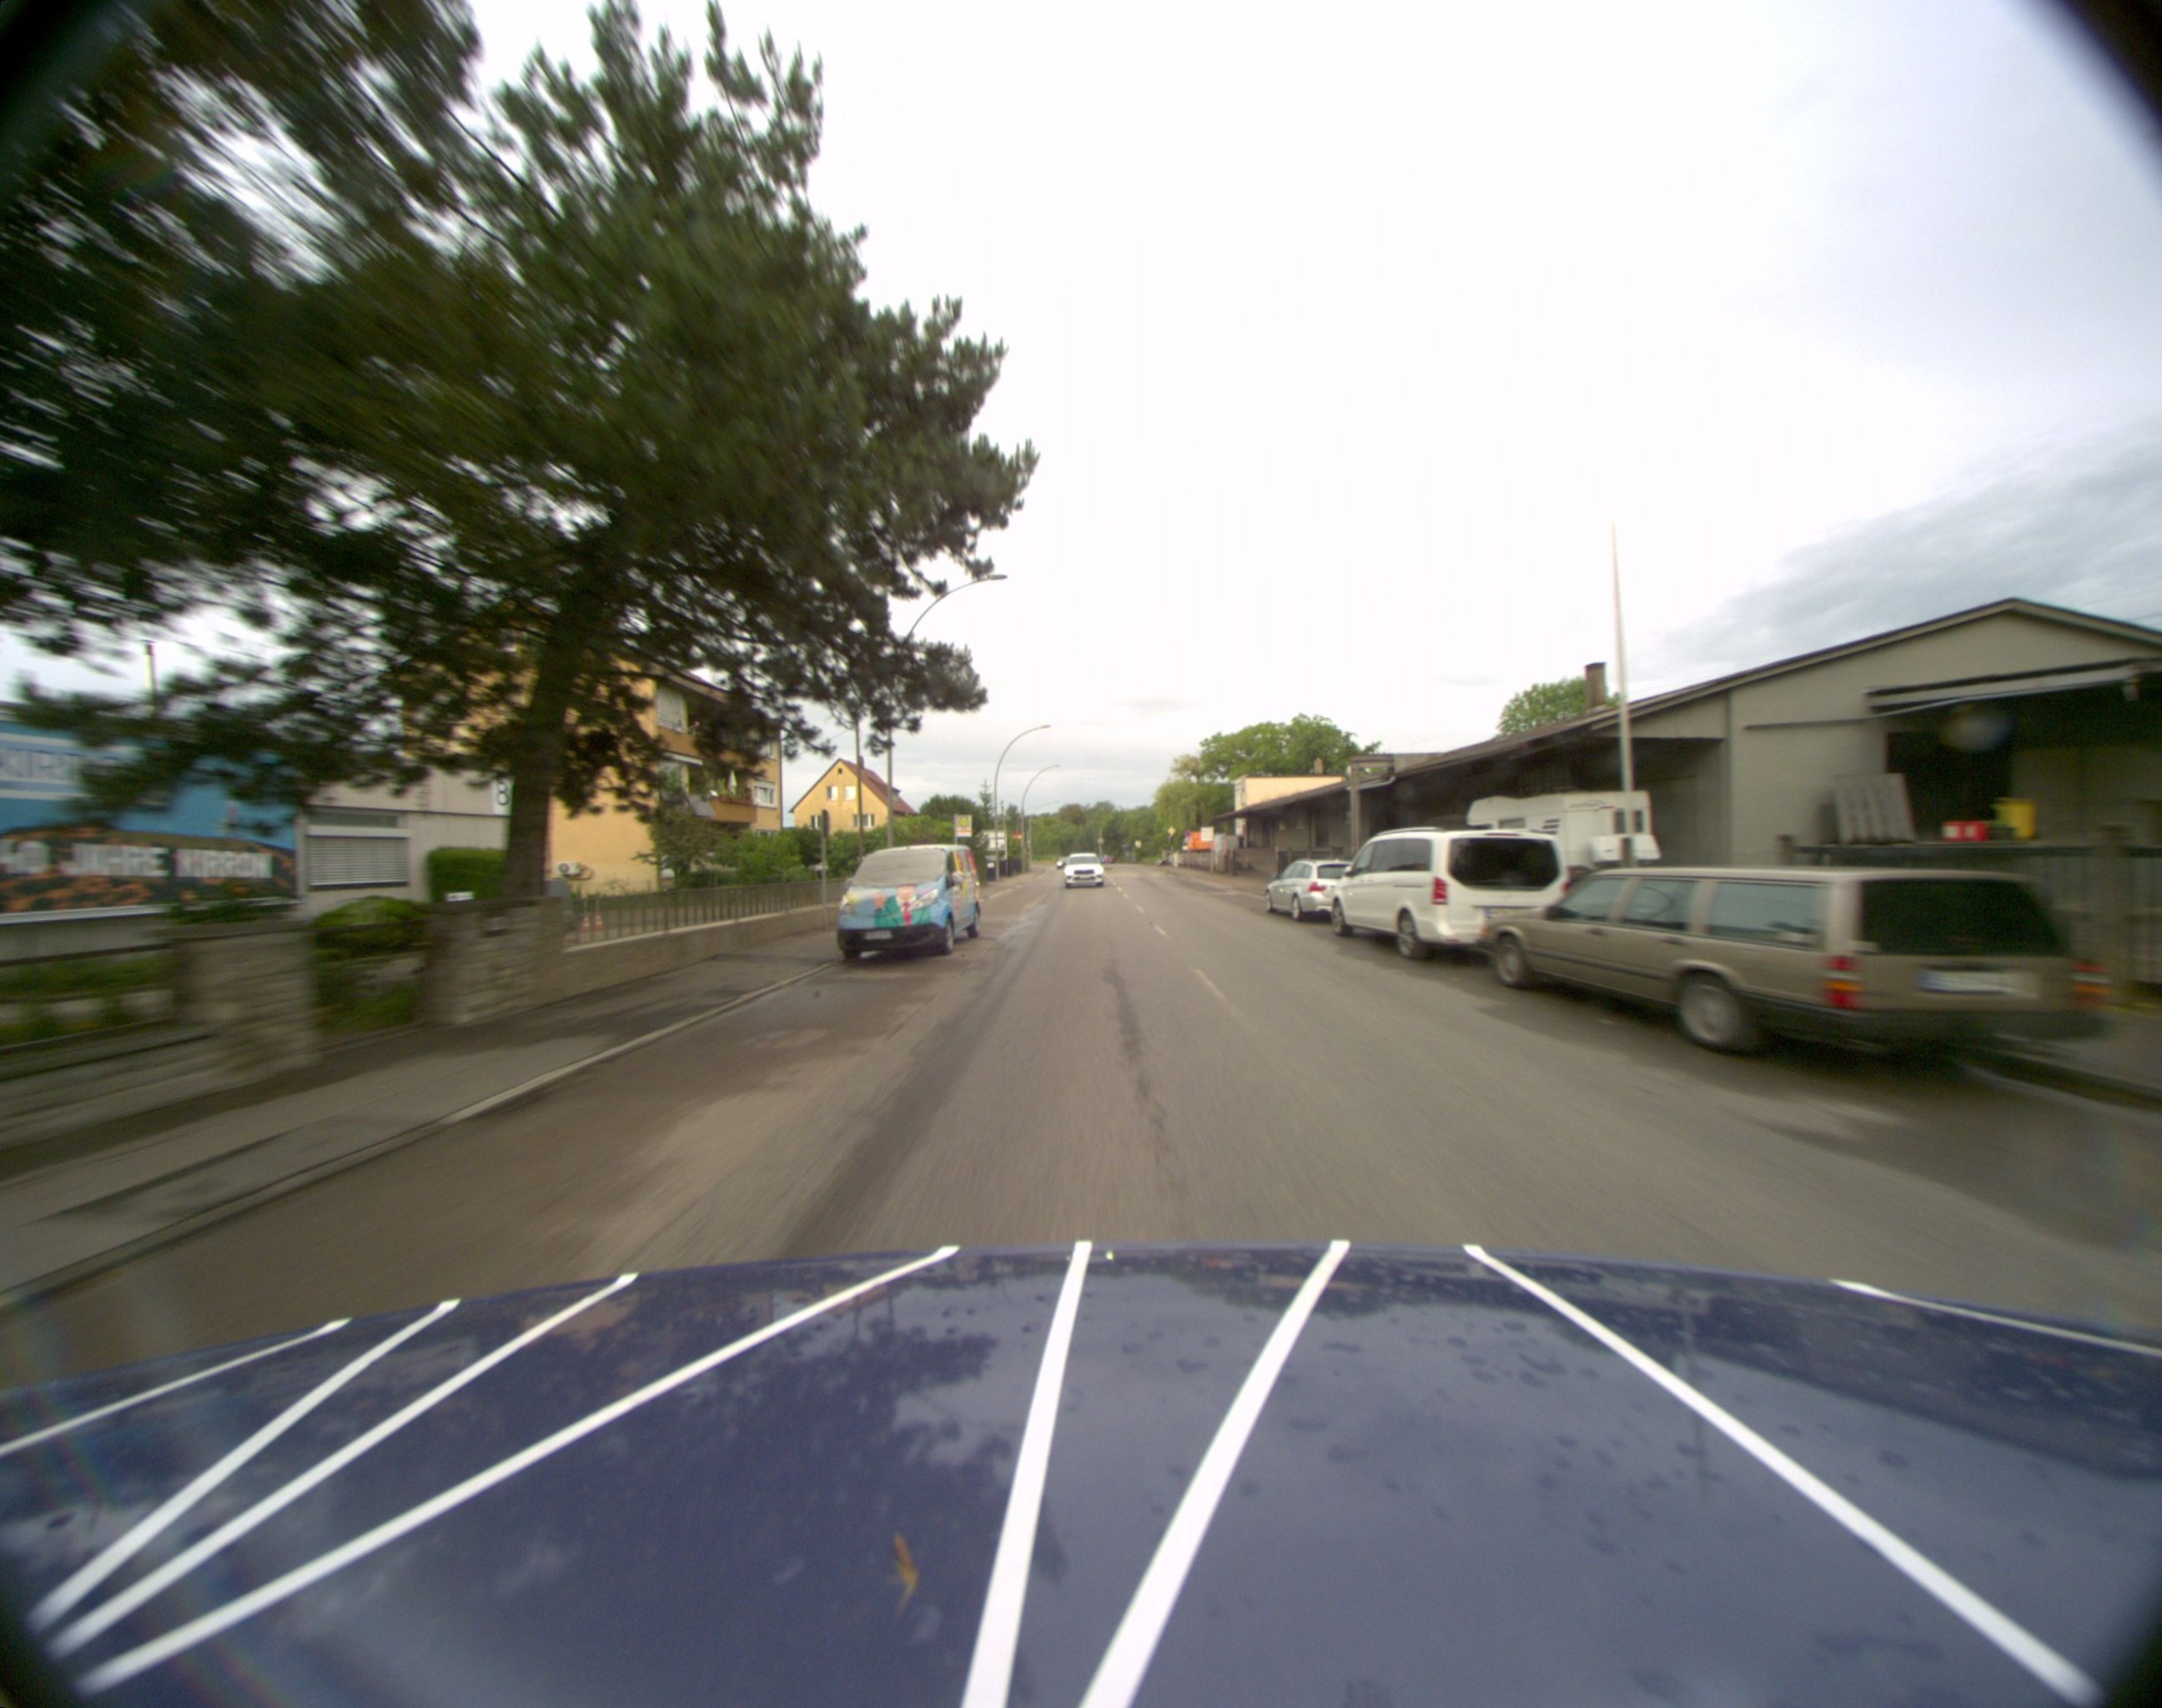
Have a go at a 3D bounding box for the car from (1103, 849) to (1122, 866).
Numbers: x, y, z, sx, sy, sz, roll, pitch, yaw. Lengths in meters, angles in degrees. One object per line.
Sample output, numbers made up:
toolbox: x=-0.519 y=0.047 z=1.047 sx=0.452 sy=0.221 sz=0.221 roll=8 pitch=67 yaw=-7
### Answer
car: x=3.157 y=0.330 z=77.013 sx=1.898 sy=1.678 sz=4.231 roll=0 pitch=0 yaw=1

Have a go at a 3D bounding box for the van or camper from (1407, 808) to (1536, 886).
van or camper: x=14.019 y=-0.244 z=27.703 sx=1.998 sy=2.476 sz=5.197 roll=-2 pitch=0 yaw=0

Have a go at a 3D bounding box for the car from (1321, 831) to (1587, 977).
car: x=5.638 y=0.627 z=12.432 sx=1.898 sy=1.881 sz=5.210 roll=0 pitch=0 yaw=1

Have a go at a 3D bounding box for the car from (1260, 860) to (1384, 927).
car: x=5.720 y=0.872 z=18.661 sx=1.642 sy=1.357 sz=4.707 roll=0 pitch=0 yaw=1

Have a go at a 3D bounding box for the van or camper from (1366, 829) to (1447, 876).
van or camper: x=14.696 y=-0.089 z=34.553 sx=1.926 sy=1.924 sz=4.374 roll=-2 pitch=0 yaw=3

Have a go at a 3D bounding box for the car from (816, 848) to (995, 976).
car: x=-2.929 y=0.845 z=14.097 sx=1.735 sy=1.817 sz=5.553 roll=-3 pitch=0 yaw=2

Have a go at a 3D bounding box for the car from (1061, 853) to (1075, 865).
car: x=-1.581 y=0.639 z=92.114 sx=1.564 sy=1.332 sz=3.129 roll=-2 pitch=0 yaw=-1

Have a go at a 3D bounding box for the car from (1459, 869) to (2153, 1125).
car: x=5.641 y=0.924 z=7.119 sx=1.820 sy=1.419 sz=4.981 roll=0 pitch=0 yaw=1

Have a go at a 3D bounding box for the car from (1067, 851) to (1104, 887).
car: x=0.194 y=0.717 z=38.131 sx=1.692 sy=1.651 sz=3.999 roll=-2 pitch=0 yaw=-1

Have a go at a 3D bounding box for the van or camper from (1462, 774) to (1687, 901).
van or camper: x=13.578 y=-0.425 z=21.593 sx=2.309 sy=3.018 sz=6.150 roll=-2 pitch=1 yaw=0
